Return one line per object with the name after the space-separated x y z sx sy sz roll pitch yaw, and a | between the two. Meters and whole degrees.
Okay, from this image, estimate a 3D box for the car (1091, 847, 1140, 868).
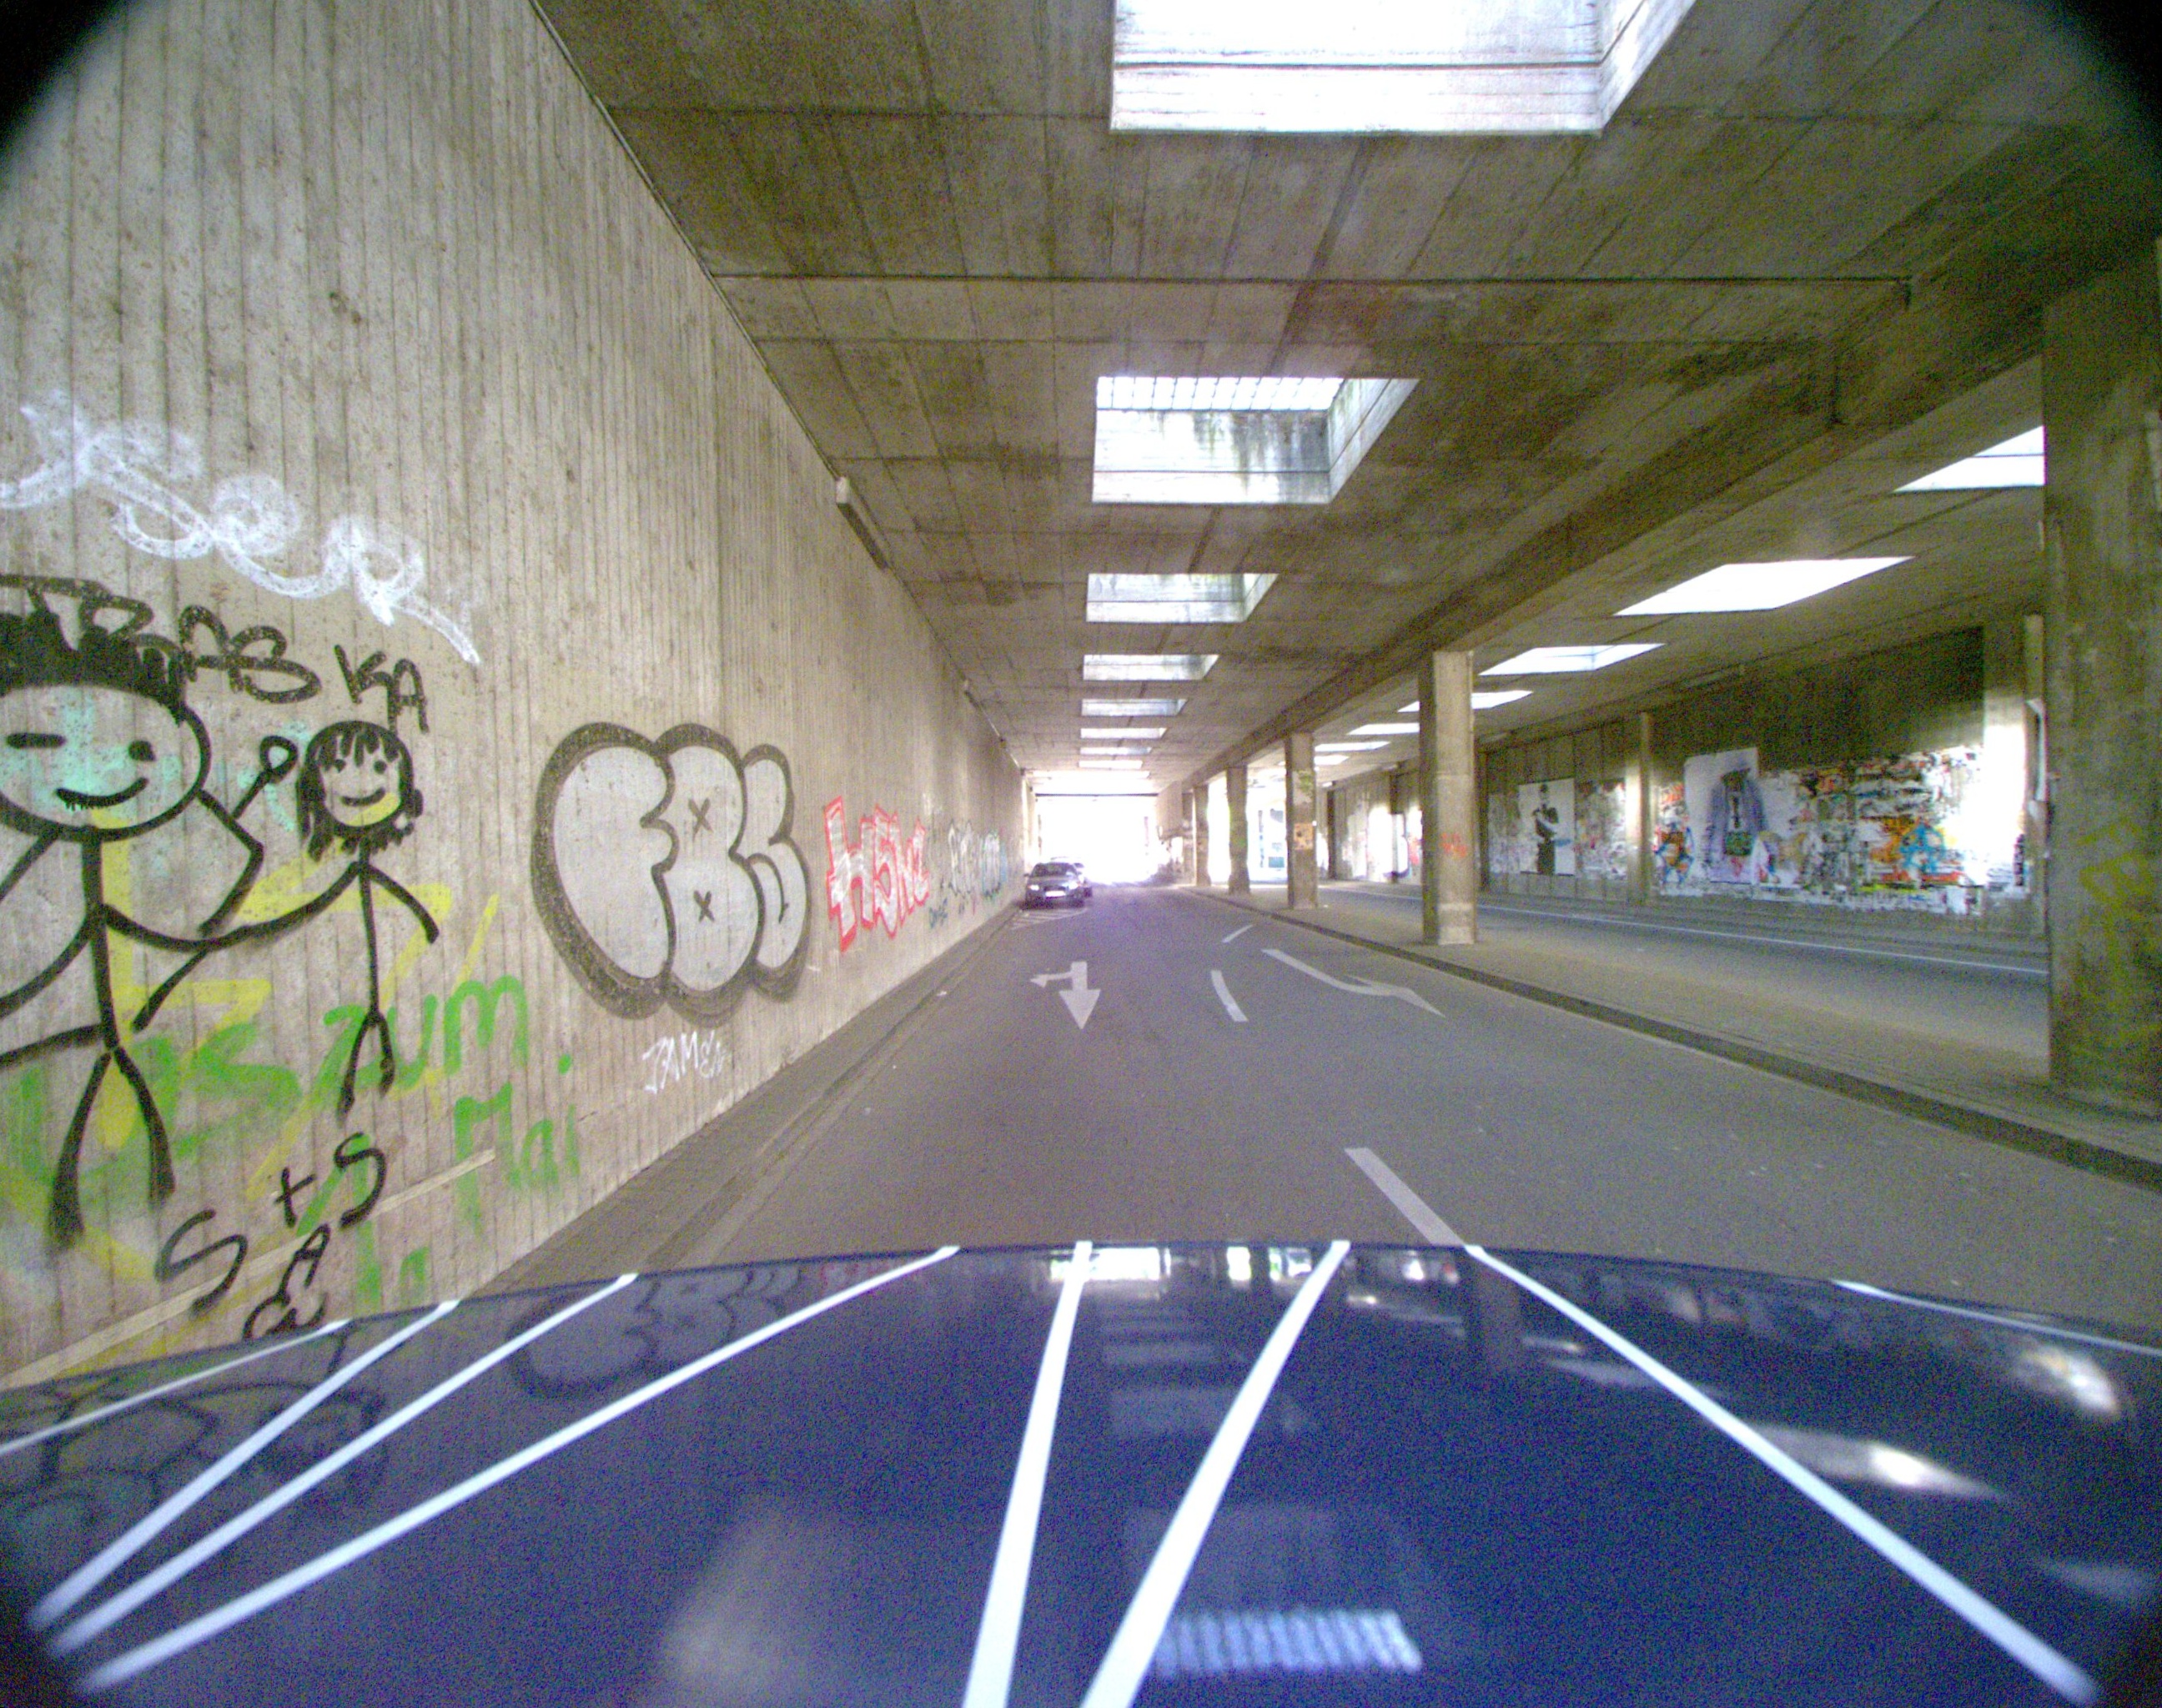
3.267 0.307 71.105 1.994 1.740 4.869 -1 1 41 | car

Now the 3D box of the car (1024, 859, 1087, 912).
-0.720 0.915 24.047 1.767 1.407 3.999 -2 1 1 | car

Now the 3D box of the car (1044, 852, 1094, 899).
-0.501 0.771 29.820 1.767 1.634 3.999 -2 1 -2 | car
